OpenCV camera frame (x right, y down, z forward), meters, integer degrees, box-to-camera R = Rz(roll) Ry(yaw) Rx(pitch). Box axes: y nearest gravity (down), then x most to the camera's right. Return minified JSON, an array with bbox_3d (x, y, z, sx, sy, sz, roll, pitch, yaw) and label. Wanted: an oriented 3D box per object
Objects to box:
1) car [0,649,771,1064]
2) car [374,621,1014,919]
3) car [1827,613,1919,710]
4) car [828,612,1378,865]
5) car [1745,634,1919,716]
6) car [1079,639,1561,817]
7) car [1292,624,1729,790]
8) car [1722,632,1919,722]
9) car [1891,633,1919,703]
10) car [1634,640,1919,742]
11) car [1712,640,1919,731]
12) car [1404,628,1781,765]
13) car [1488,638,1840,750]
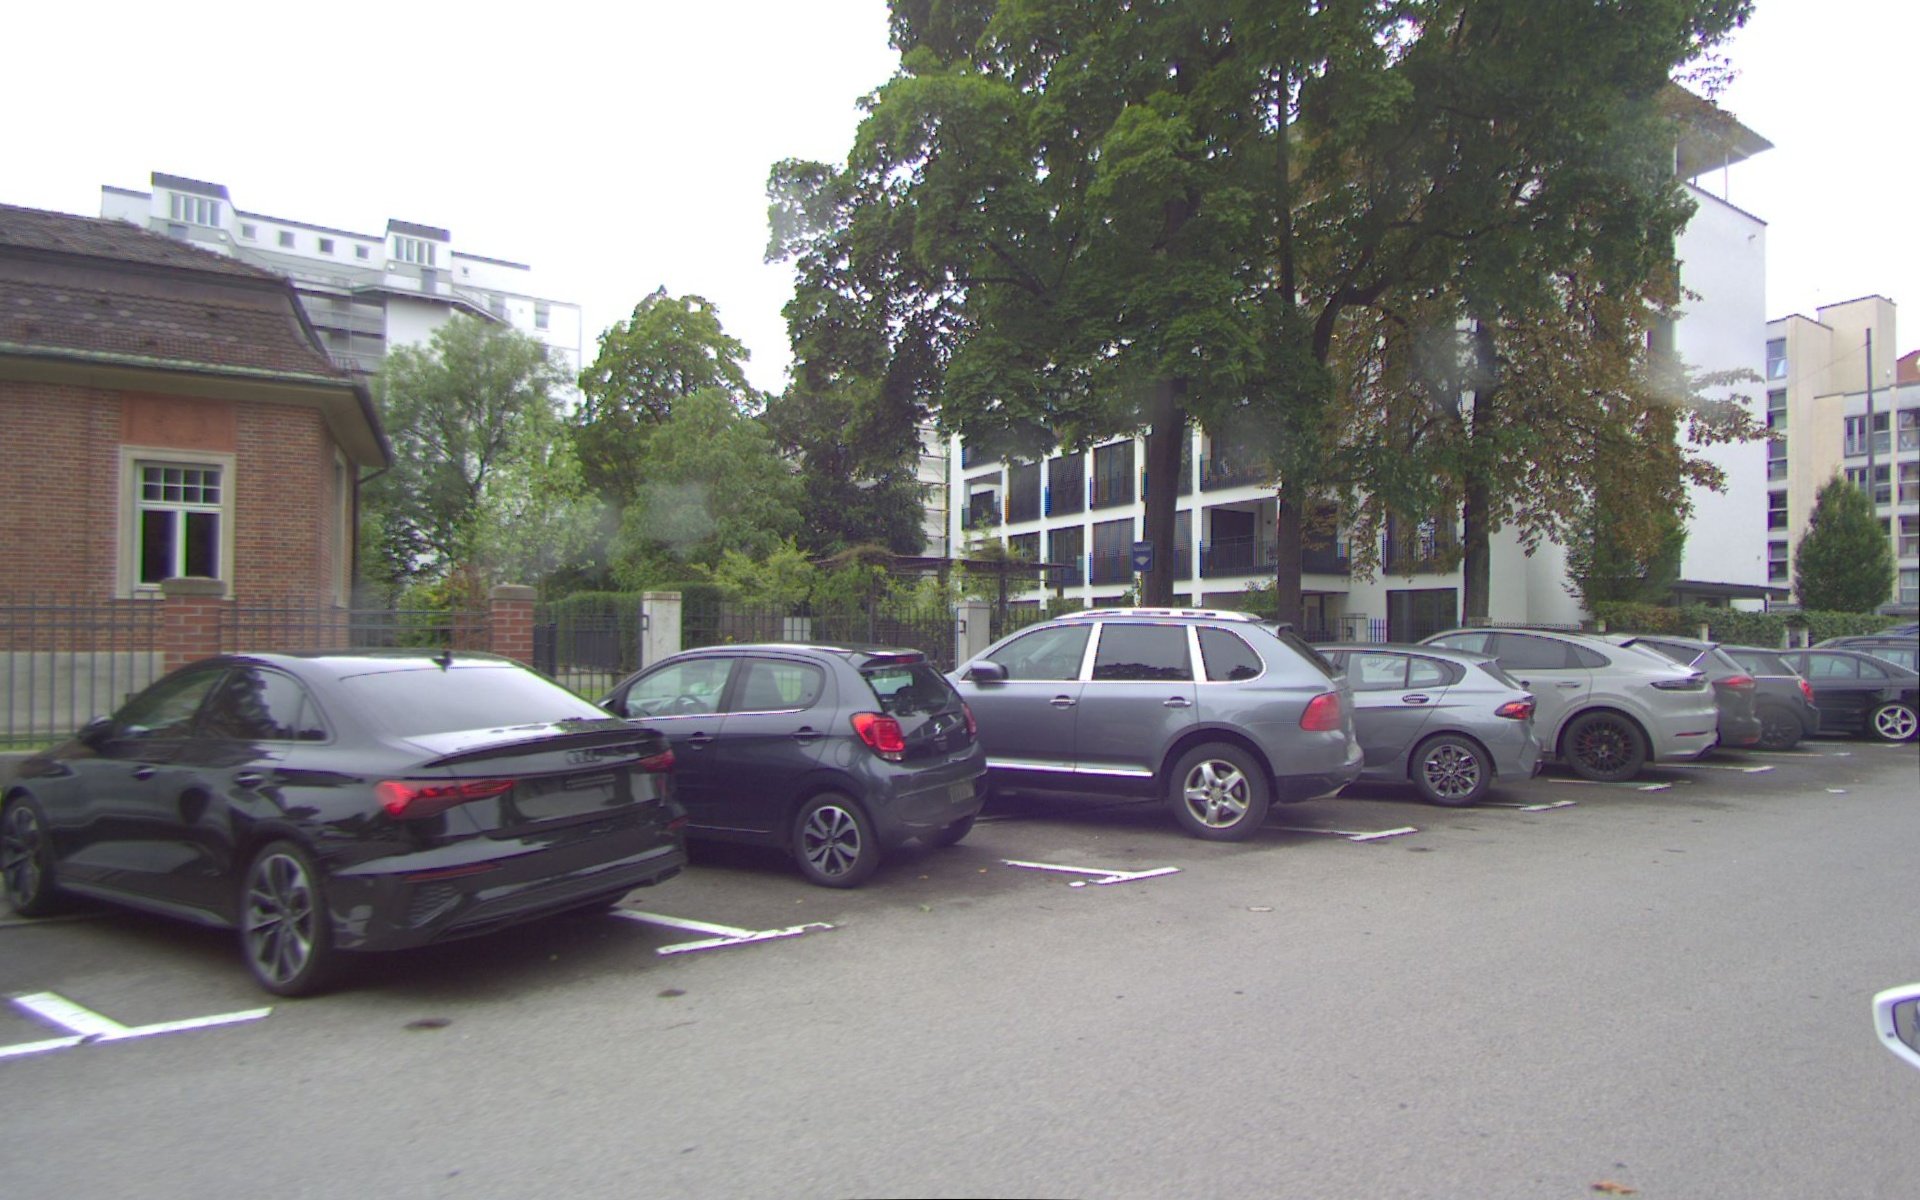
[{"bbox_3d":[-3.388,1.017,5.516,4.331,1.458,1.964,-1,-3,27],"label":"car"},{"bbox_3d":[-1.970,1.012,7.412,4.330,1.651,1.964,-1,-2,26],"label":"car"},{"bbox_3d":[21.834,1.316,21.844,4.142,2.093,1.735,-2,-3,29],"label":"car"},{"bbox_3d":[1.260,1.020,8.788,4.330,1.721,2.135,-1,-2,26],"label":"car"},{"bbox_3d":[19.162,1.537,20.916,4.142,1.630,1.735,-2,-3,29],"label":"car"},{"bbox_3d":[3.628,1.175,10.469,4.330,1.510,2.016,-1,-3,26],"label":"car"},{"bbox_3d":[6.524,1.150,12.155,4.342,1.642,2.079,-2,-3,37],"label":"car"},{"bbox_3d":[17.475,1.462,19.437,4.146,1.630,1.733,-3,-3,33],"label":"car"},{"bbox_3d":[25.997,1.652,24.780,4.044,1.730,1.735,-2,-3,28],"label":"car"},{"bbox_3d":[13.369,1.406,15.999,4.141,1.480,1.735,-2,-3,28],"label":"car"},{"bbox_3d":[15.698,1.448,17.458,4.151,1.480,1.731,-3,-3,37],"label":"car"},{"bbox_3d":[8.556,1.224,13.912,4.147,1.619,1.881,-1,-3,34],"label":"car"},{"bbox_3d":[10.469,1.331,15.280,4.147,1.480,1.788,-1,-3,34],"label":"car"}]
